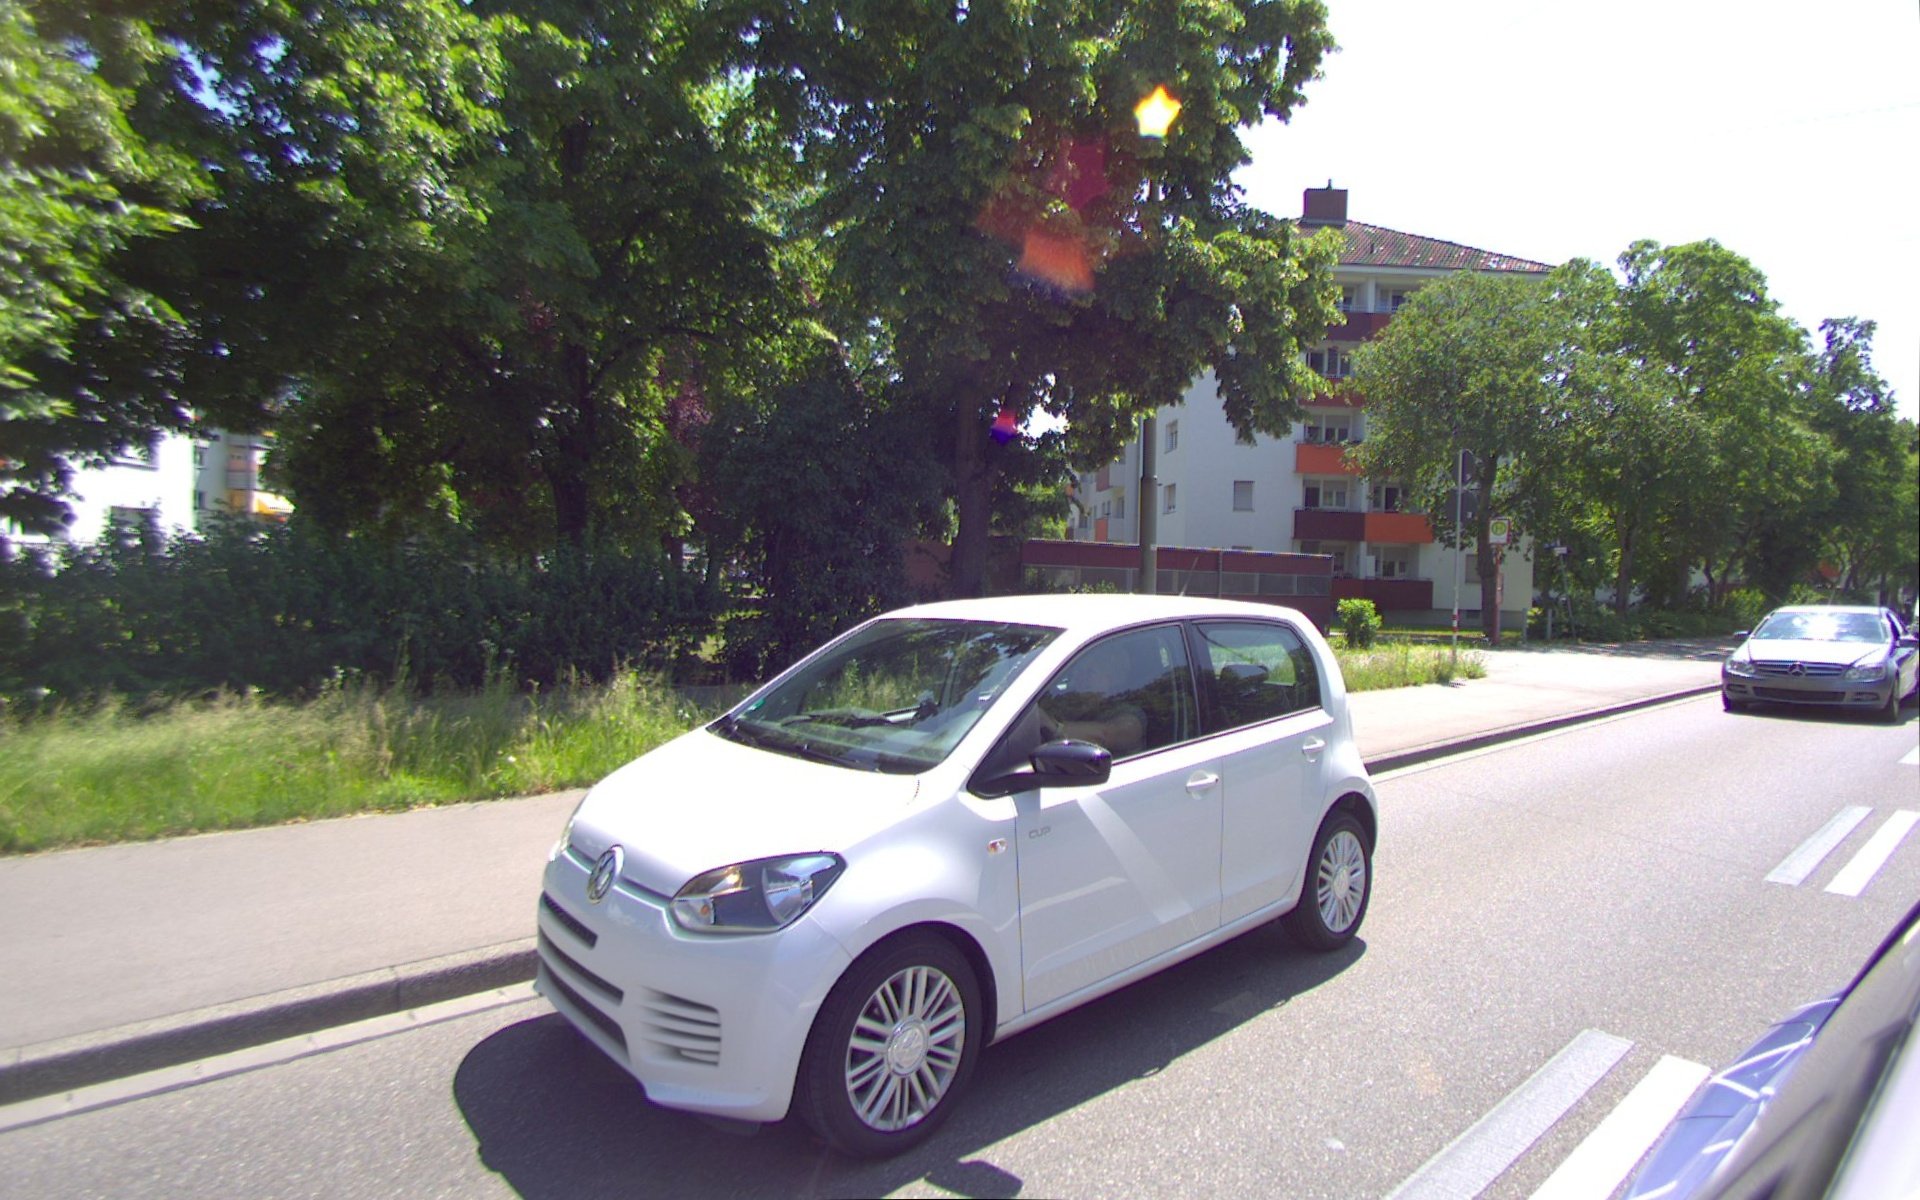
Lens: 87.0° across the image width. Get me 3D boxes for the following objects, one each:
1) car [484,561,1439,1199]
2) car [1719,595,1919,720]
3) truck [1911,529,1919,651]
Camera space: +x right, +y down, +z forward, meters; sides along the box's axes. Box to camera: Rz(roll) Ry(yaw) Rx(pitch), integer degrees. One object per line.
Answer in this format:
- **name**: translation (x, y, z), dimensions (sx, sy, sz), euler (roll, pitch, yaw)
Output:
- **car**: translation (0.308, 0.630, 4.145), dimensions (3.788, 1.467, 1.661), euler (0, 1, -42)
- **car**: translation (12.115, 0.674, 13.957), dimensions (3.902, 1.478, 1.901), euler (0, 0, -42)
- **truck**: translation (29.965, -0.262, 29.340), dimensions (8.161, 3.319, 2.294), euler (0, 1, -39)
